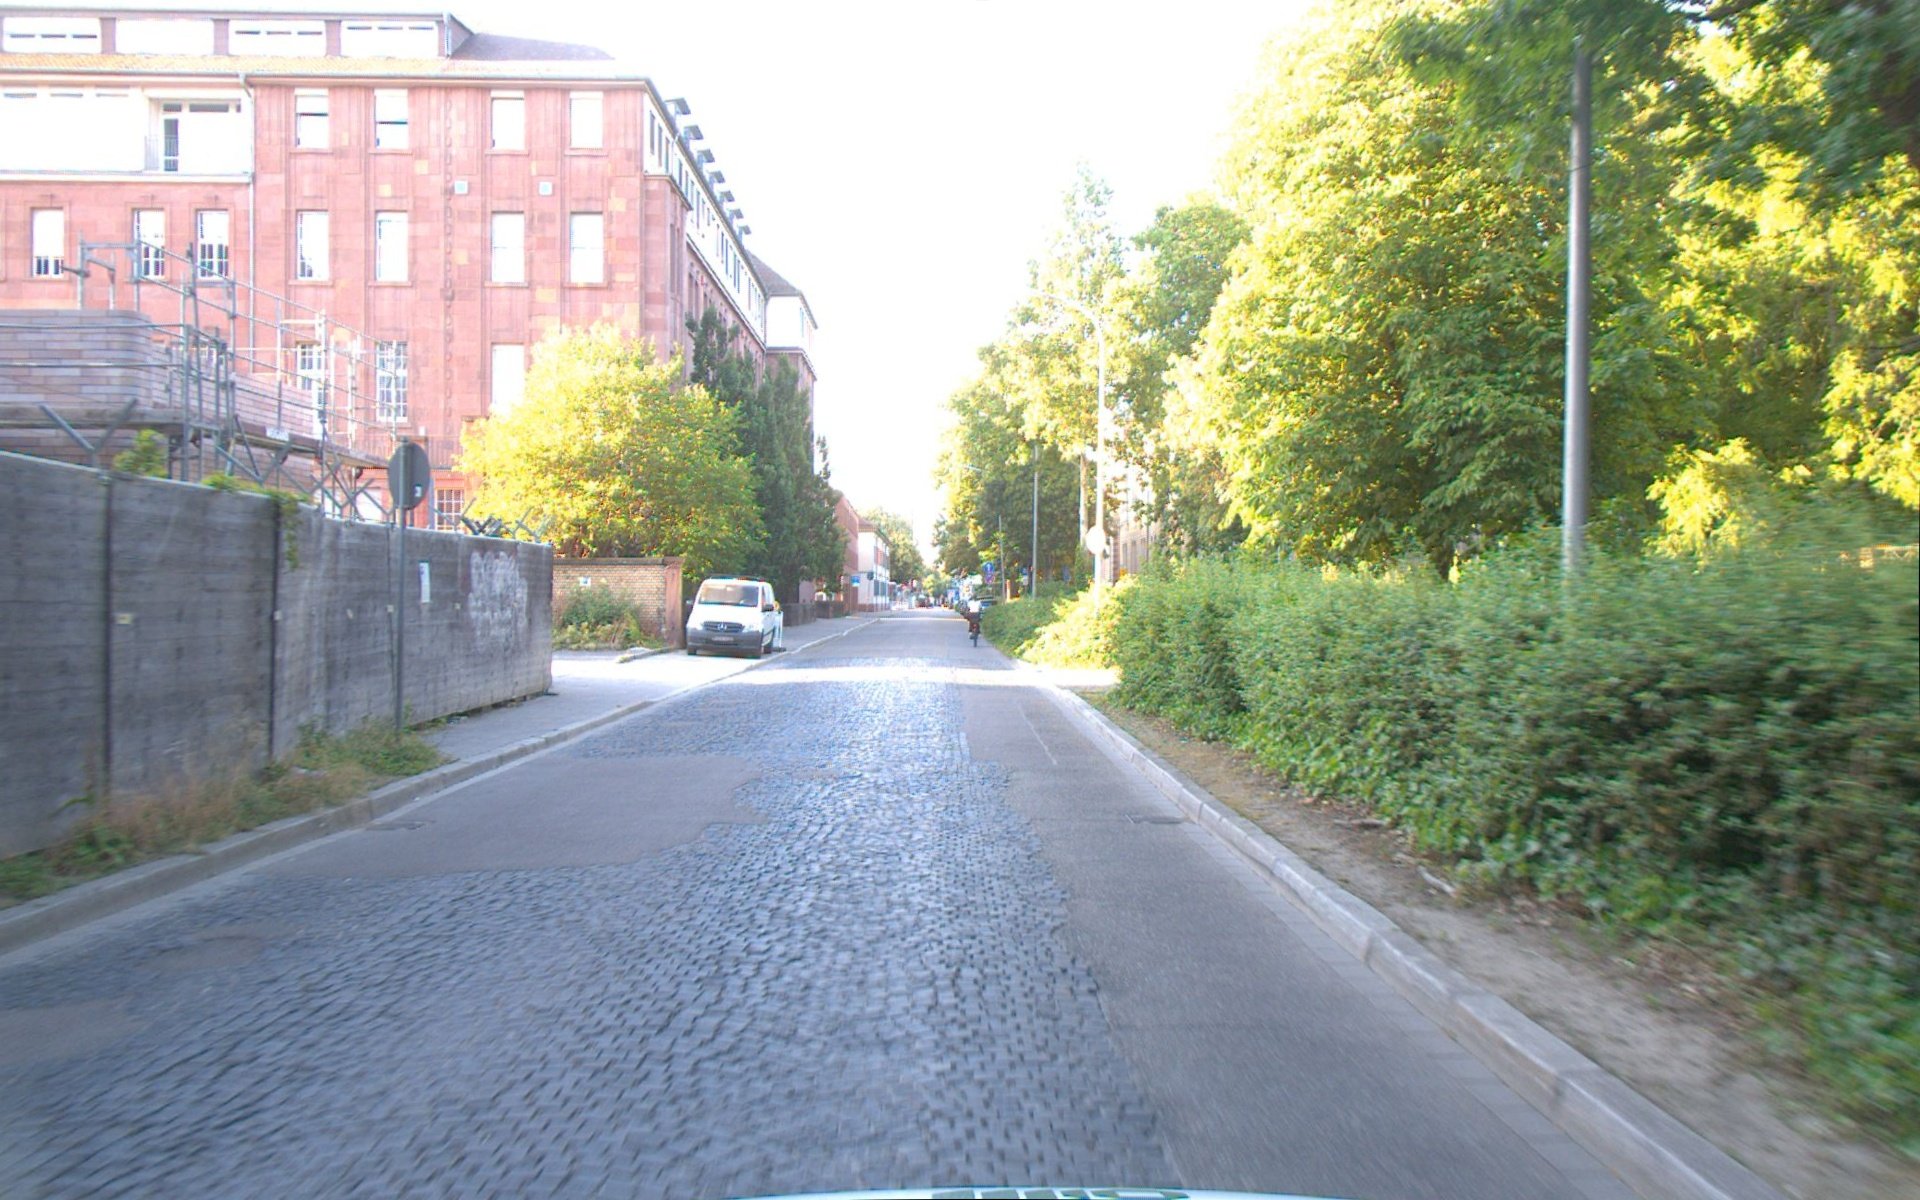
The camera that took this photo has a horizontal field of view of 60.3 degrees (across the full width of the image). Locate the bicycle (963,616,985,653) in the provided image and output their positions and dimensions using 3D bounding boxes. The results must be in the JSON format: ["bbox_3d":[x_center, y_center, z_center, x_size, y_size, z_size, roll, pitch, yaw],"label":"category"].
[{"bbox_3d":[0.481,1.168,56.296,0.625,1.214,1.875,1,0,-2],"label":"bicycle"}]

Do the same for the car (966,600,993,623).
[{"bbox_3d":[1.359,0.796,115.836,1.681,1.564,4.046,-1,0,-3],"label":"car"}]

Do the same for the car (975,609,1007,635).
[{"bbox_3d":[1.885,1.346,101.910,1.652,1.472,3.669,-3,-1,-3],"label":"car"}]

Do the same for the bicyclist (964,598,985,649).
[{"bbox_3d":[0.490,0.795,56.297,0.626,1.696,0.842,1,0,-3],"label":"bicyclist"}]

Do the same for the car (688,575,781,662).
[{"bbox_3d":[-5.721,0.493,42.550,1.845,2.049,5.223,1,-1,-3],"label":"car"}]
